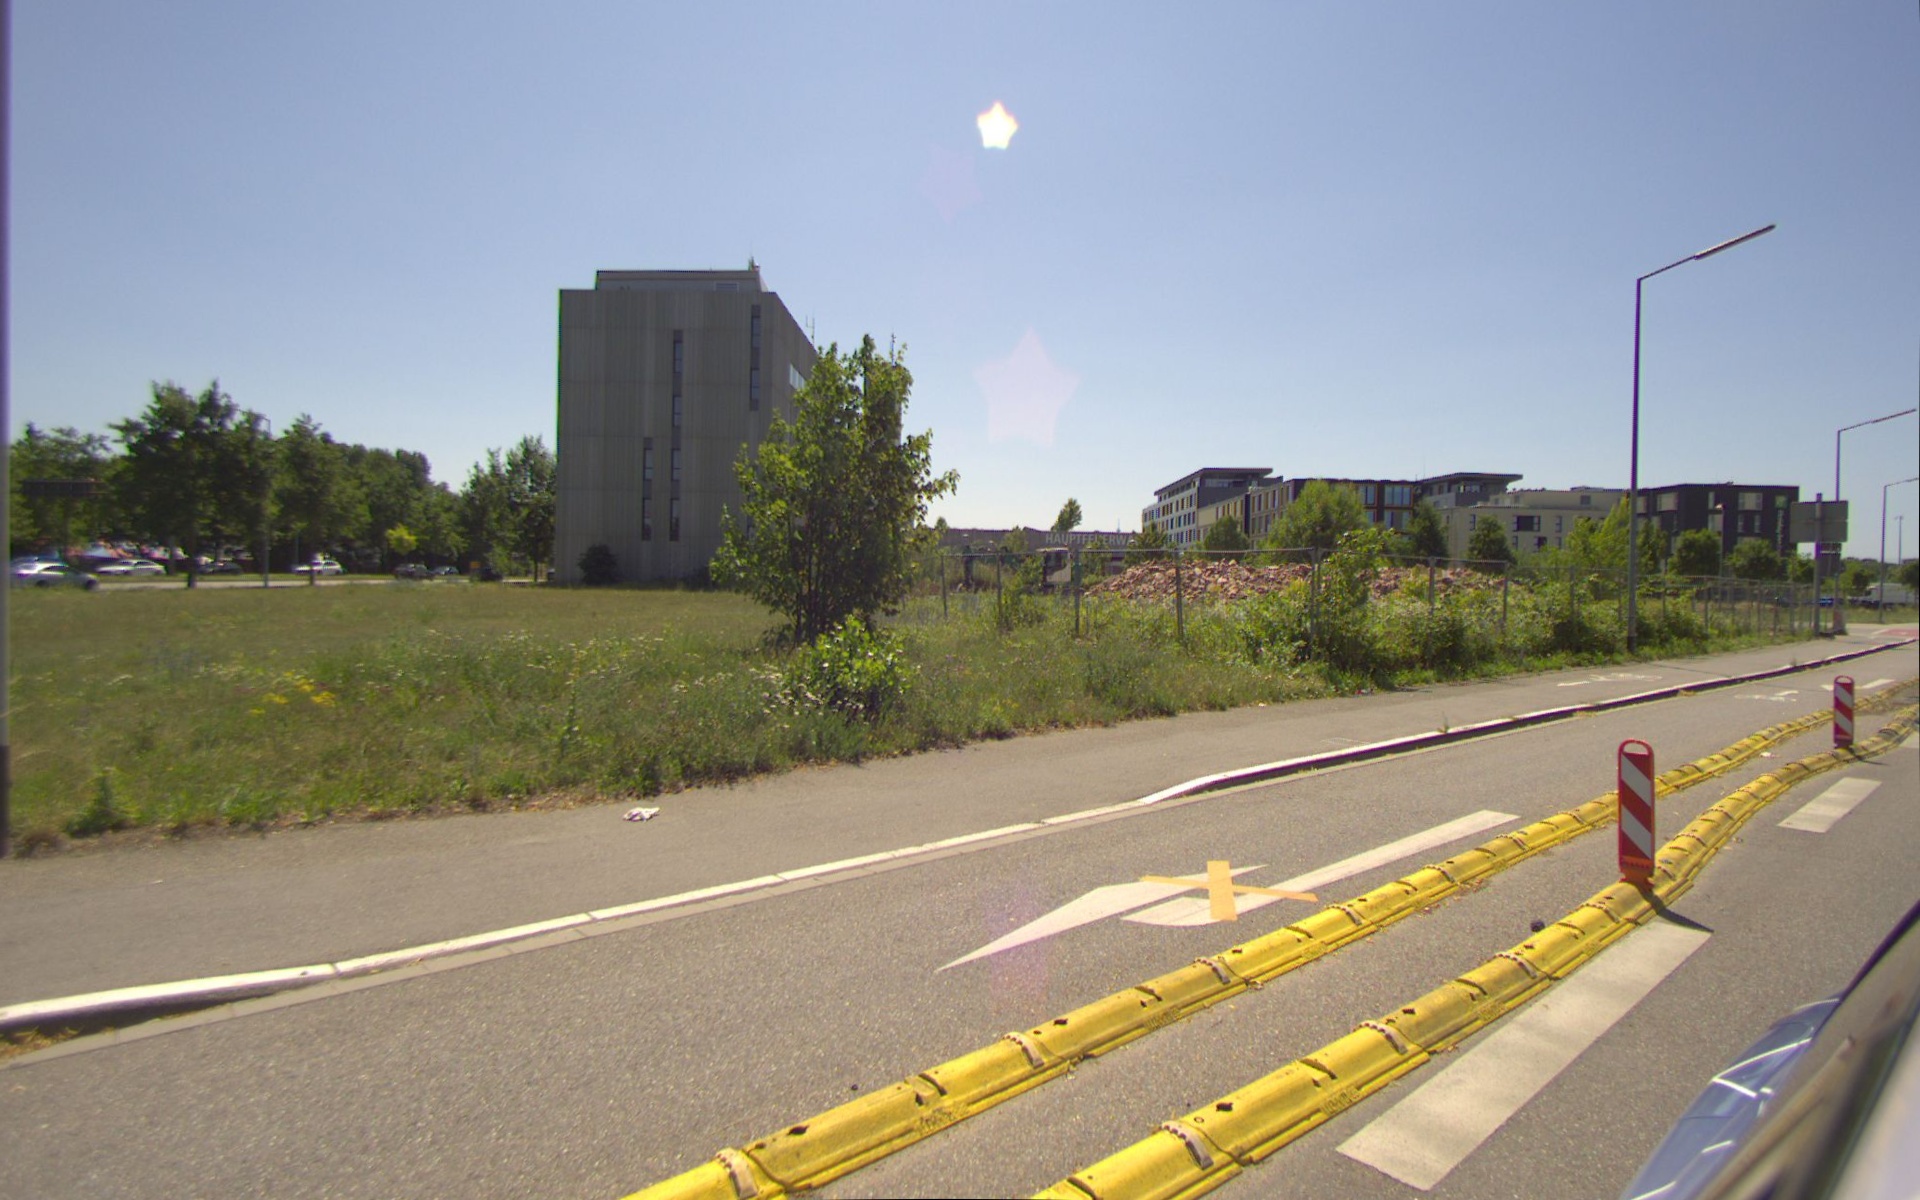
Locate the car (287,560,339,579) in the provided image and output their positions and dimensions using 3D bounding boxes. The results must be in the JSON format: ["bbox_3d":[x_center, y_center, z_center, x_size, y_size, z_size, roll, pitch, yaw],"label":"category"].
[{"bbox_3d":[-58.140,-2.737,91.084,1.814,1.612,4.444,0,0,1],"label":"car"}]

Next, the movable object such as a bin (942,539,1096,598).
[{"bbox_3d":[3.126,-1.596,53.304,7.537,2.952,3.242,-1,0,-26],"label":"movable object such as a bin"}]

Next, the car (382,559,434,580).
[{"bbox_3d":[-48.151,-2.631,88.442,1.960,1.757,5.334,0,0,-4],"label":"car"}]

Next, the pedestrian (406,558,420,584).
[{"bbox_3d":[-34.125,-1.787,63.180,0.652,1.611,0.557,0,0,-15],"label":"pedestrian"}]

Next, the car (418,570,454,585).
[{"bbox_3d":[-60.797,-2.590,117.453,1.814,1.612,4.443,0,0,1],"label":"car"}]

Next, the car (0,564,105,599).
[{"bbox_3d":[-42.994,-0.883,47.581,1.961,1.546,4.423,1,1,-3],"label":"car"}]

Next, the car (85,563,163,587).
[{"bbox_3d":[-58.831,-1.727,71.334,1.814,1.612,4.443,0,0,1],"label":"car"}]

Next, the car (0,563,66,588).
[{"bbox_3d":[-62.127,-1.613,67.281,1.734,1.557,3.997,0,0,3],"label":"car"}]
